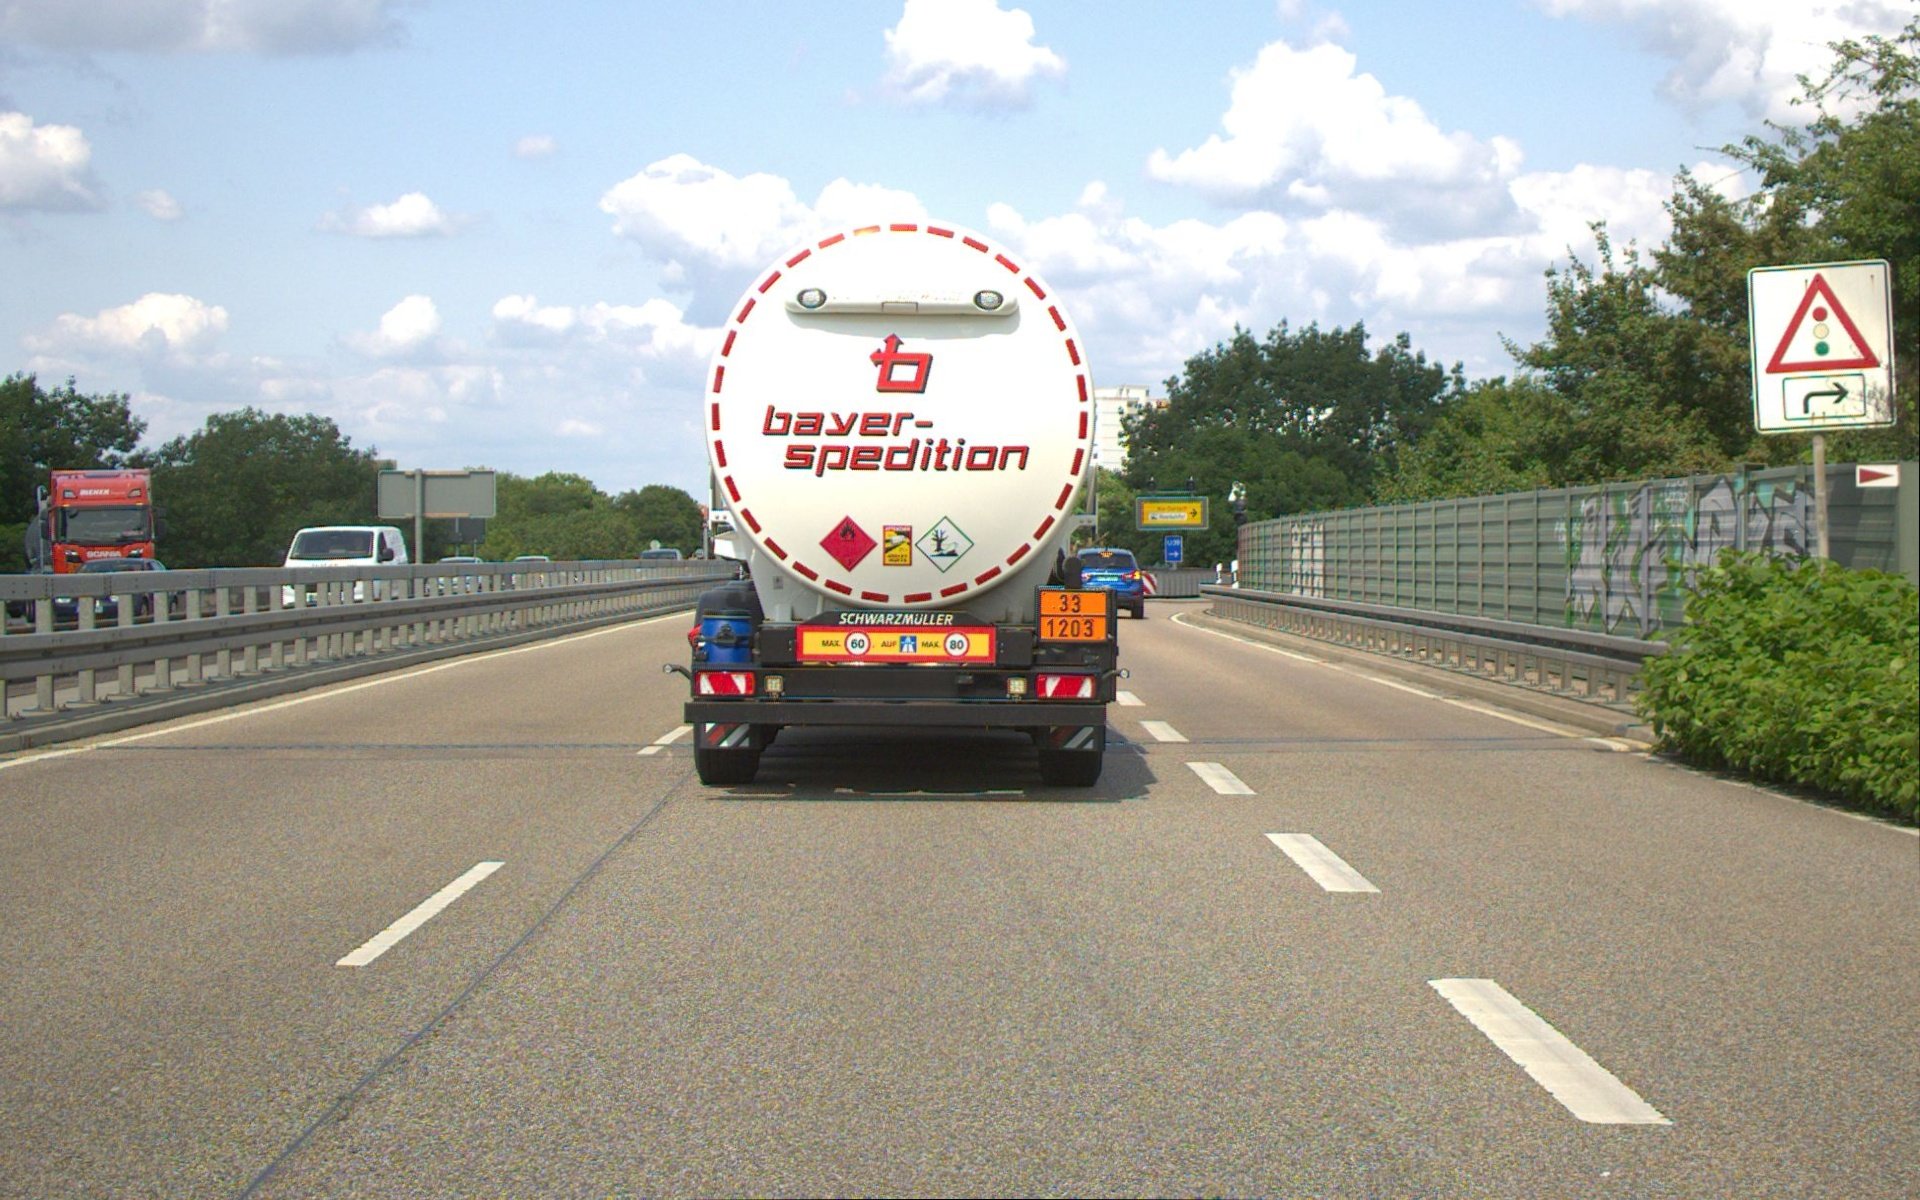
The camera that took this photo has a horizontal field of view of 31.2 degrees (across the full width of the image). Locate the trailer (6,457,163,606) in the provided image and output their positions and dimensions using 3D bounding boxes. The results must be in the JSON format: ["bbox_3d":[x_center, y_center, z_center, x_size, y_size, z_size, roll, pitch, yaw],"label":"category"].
[{"bbox_3d":[-23.390,-1.808,91.435,2.683,3.657,11.032,1,1,-21],"label":"trailer"}]

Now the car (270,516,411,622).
[{"bbox_3d":[-12.322,-0.630,68.675,2.079,1.982,5.230,1,1,-3],"label":"car"}]

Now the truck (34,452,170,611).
[{"bbox_3d":[-21.581,-1.705,86.271,2.647,3.769,6.235,1,1,-20],"label":"truck"}]

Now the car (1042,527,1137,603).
[{"bbox_3d":[3.012,-0.820,80.578,1.993,1.700,4.000,1,1,-1],"label":"car"}]

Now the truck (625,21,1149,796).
[{"bbox_3d":[-0.454,-1.131,23.660,2.895,4.354,8.030,1,0,-1],"label":"truck"}]

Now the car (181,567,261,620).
[{"bbox_3d":[-23.379,-0.222,108.818,1.714,1.614,4.282,-1,1,-2],"label":"car"}]

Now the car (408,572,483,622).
[{"bbox_3d":[-16.352,-0.113,109.465,1.783,1.503,3.960,1,1,0],"label":"car"}]

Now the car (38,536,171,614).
[{"bbox_3d":[-16.740,-0.495,67.434,1.688,1.426,4.403,1,1,-3],"label":"car"}]
